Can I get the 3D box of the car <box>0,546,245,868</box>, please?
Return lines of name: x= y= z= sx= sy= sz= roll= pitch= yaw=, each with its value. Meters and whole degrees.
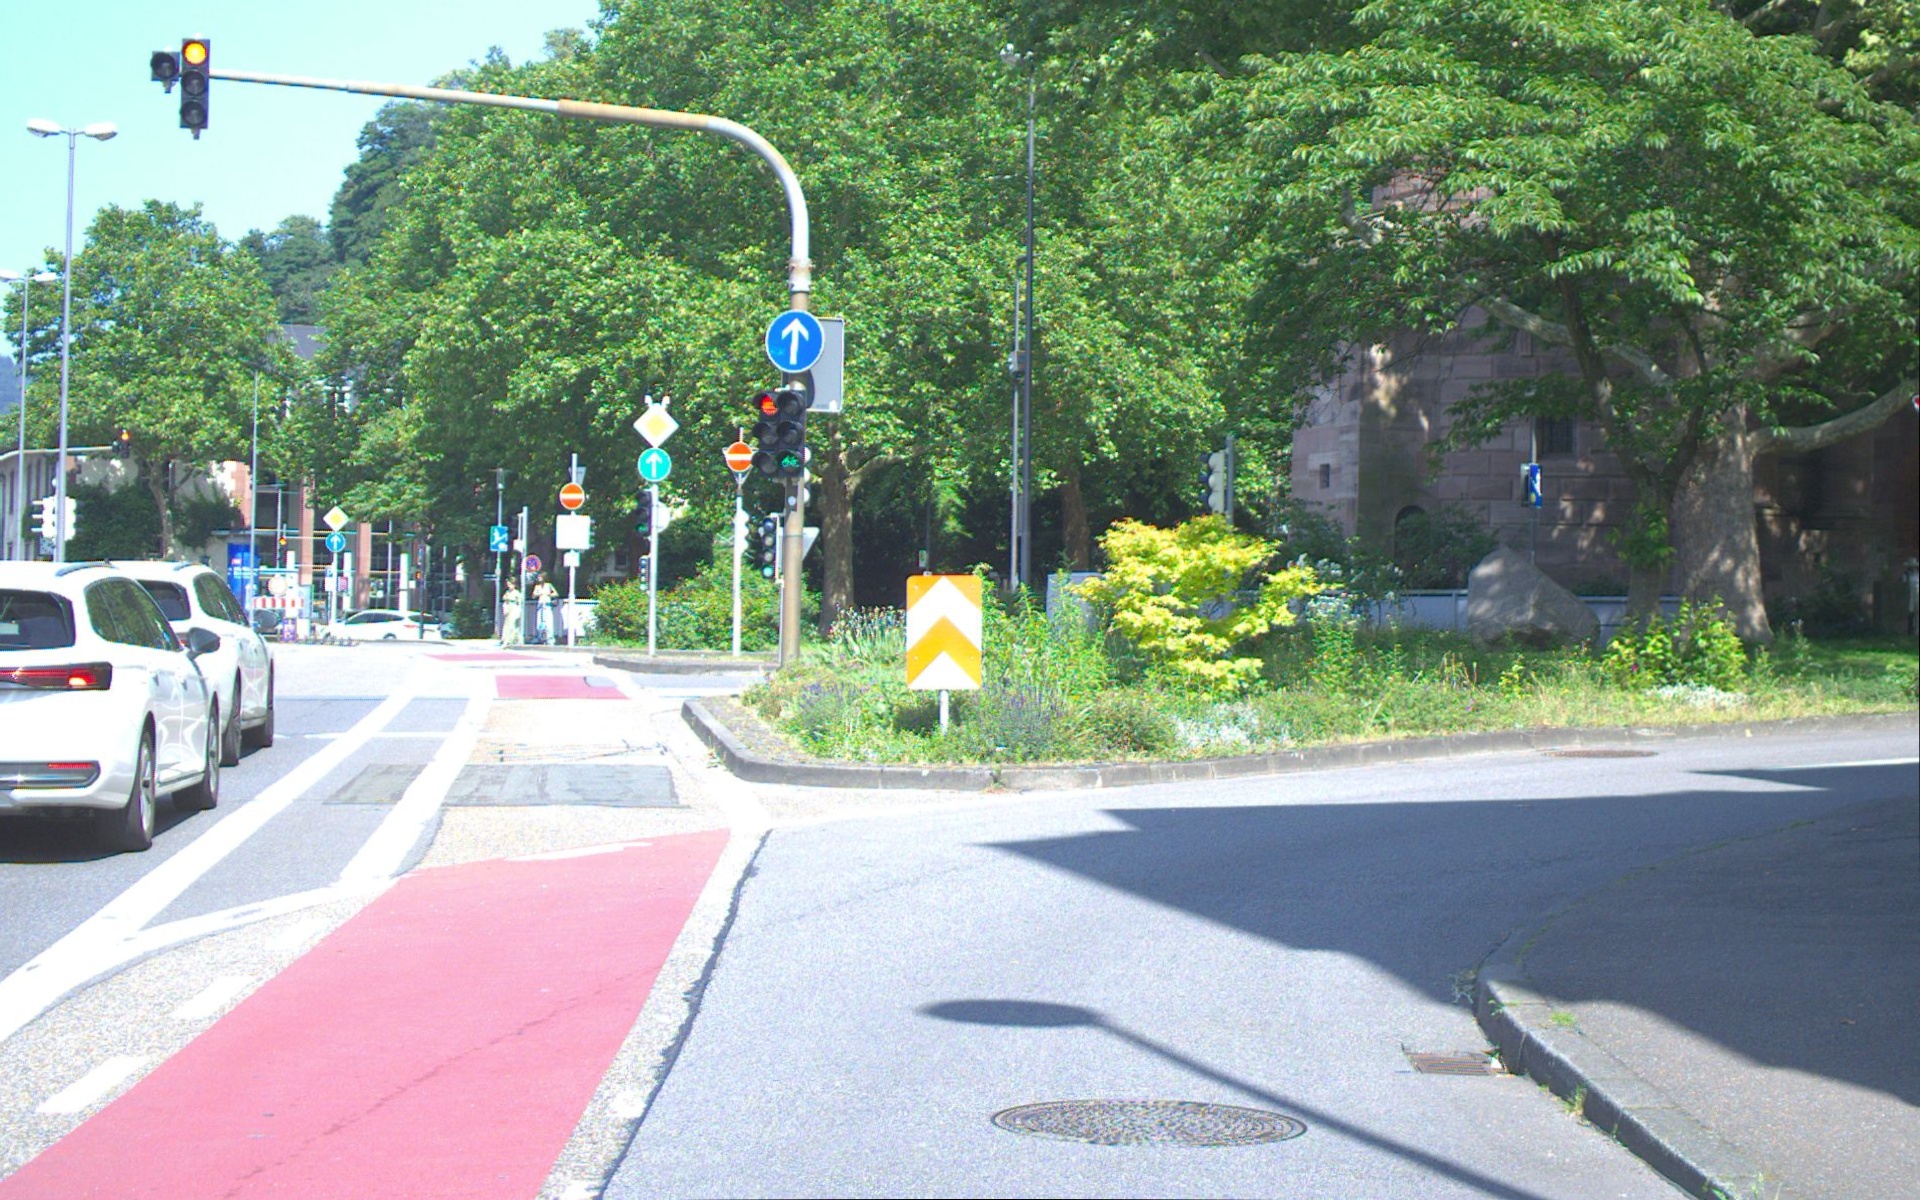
car: x=-5.219 y=0.473 z=18.791 sx=1.993 sy=1.528 sz=4.859 roll=0 pitch=1 yaw=-5

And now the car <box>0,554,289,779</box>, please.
car: x=-6.161 y=0.436 z=25.839 sx=1.785 sy=1.527 sz=4.738 roll=0 pitch=0 yaw=-6

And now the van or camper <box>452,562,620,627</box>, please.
van or camper: x=-12.561 y=-0.183 z=102.041 sx=4.544 sy=1.895 sz=1.999 roll=0 pitch=1 yaw=13

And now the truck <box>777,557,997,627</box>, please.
truck: x=-2.179 y=-0.262 z=101.473 sx=6.261 sy=2.007 sz=2.161 roll=1 pitch=1 yaw=30

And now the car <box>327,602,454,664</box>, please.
car: x=-19.302 y=1.114 z=116.532 sx=3.994 sy=2.007 sz=1.939 roll=0 pitch=1 yaw=33

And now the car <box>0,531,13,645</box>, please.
car: x=-23.488 y=-0.296 z=79.852 sx=2.383 sy=2.567 sz=6.057 roll=0 pitch=1 yaw=-20

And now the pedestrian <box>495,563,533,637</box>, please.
pedestrian: x=-10.408 y=-0.010 z=80.196 sx=0.761 sy=1.713 sz=0.795 roll=0 pitch=1 yaw=2

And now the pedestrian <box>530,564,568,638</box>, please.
pedestrian: x=-9.576 y=0.015 z=80.112 sx=0.761 sy=1.703 sz=0.878 roll=0 pitch=1 yaw=2

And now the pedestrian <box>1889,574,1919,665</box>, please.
pedestrian: x=18.924 y=0.382 z=67.964 sx=0.792 sy=1.776 sz=0.876 roll=0 pitch=1 yaw=-10
